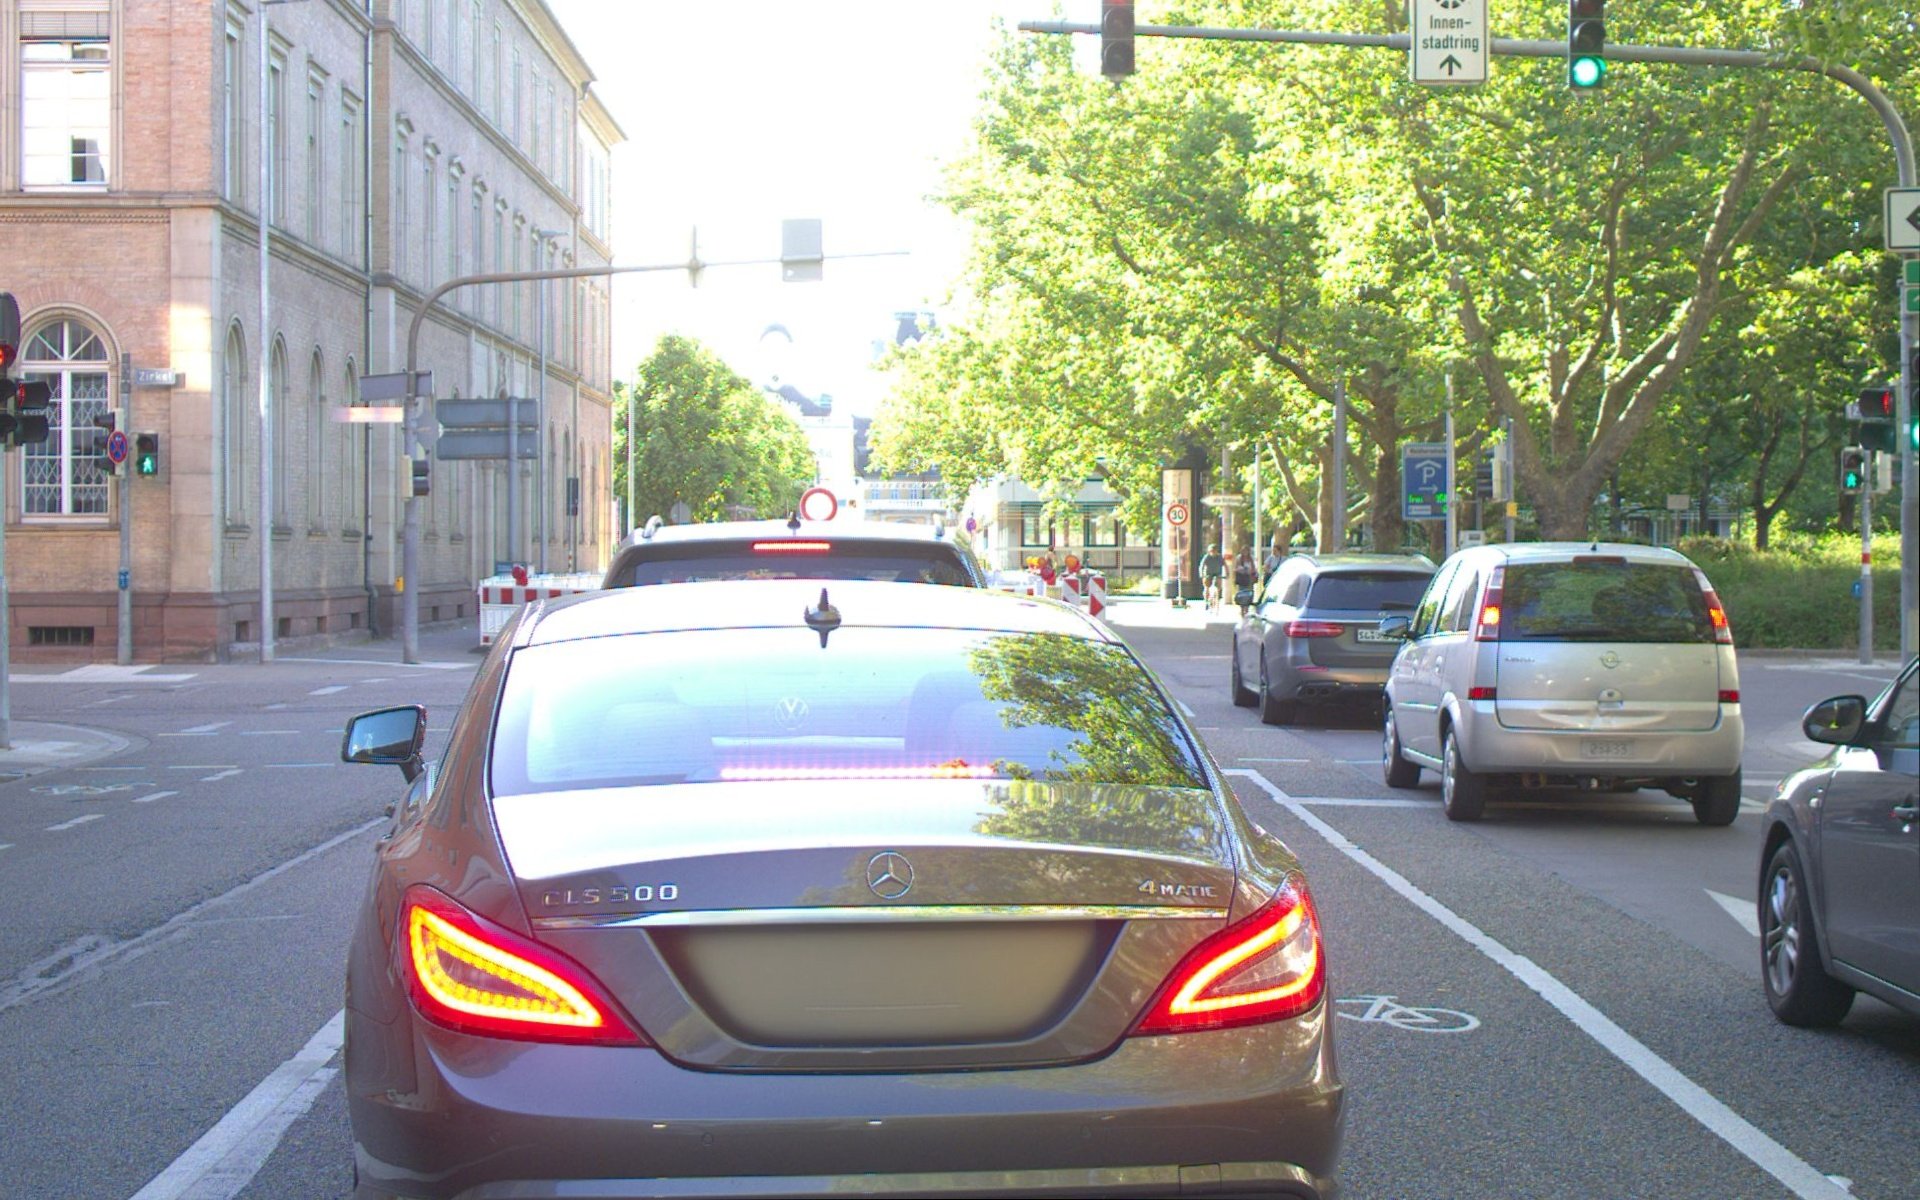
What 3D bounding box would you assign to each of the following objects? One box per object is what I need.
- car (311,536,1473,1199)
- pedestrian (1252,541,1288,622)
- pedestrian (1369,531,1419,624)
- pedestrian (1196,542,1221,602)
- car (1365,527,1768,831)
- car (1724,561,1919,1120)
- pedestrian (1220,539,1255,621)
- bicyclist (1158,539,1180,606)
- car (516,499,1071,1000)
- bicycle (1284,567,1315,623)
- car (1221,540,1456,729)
[{"bbox_3d":[-0.365,0.627,7.482,1.861,1.514,4.001,0,1,-8],"label":"car"},{"bbox_3d":[6.795,-0.414,75.396,0.635,1.754,0.699,1,0,-4],"label":"pedestrian"},{"bbox_3d":[7.248,-0.382,57.444,0.635,1.540,0.910,1,0,-4],"label":"pedestrian"},{"bbox_3d":[6.223,-0.695,86.125,0.555,1.504,0.346,1,0,-4],"label":"pedestrian"},{"bbox_3d":[3.571,0.418,20.853,1.731,1.656,3.681,1,1,-1],"label":"car"},{"bbox_3d":[3.477,0.666,9.671,1.704,1.514,4.000,0,1,-1],"label":"car"},{"bbox_3d":[6.087,-0.443,75.438,0.635,1.791,0.699,1,0,-4],"label":"pedestrian"},{"bbox_3d":[6.387,-0.848,105.034,0.594,2.032,0.566,1,0,-4],"label":"bicyclist"},{"bbox_3d":[-0.586,0.472,13.612,1.861,1.677,4.000,0,1,-1],"label":"car"},{"bbox_3d":[7.421,-0.122,75.181,0.482,1.198,1.606,1,0,-1],"label":"bicycle"},{"bbox_3d":[3.282,0.269,30.378,1.601,1.543,3.681,1,1,-1],"label":"car"}]
